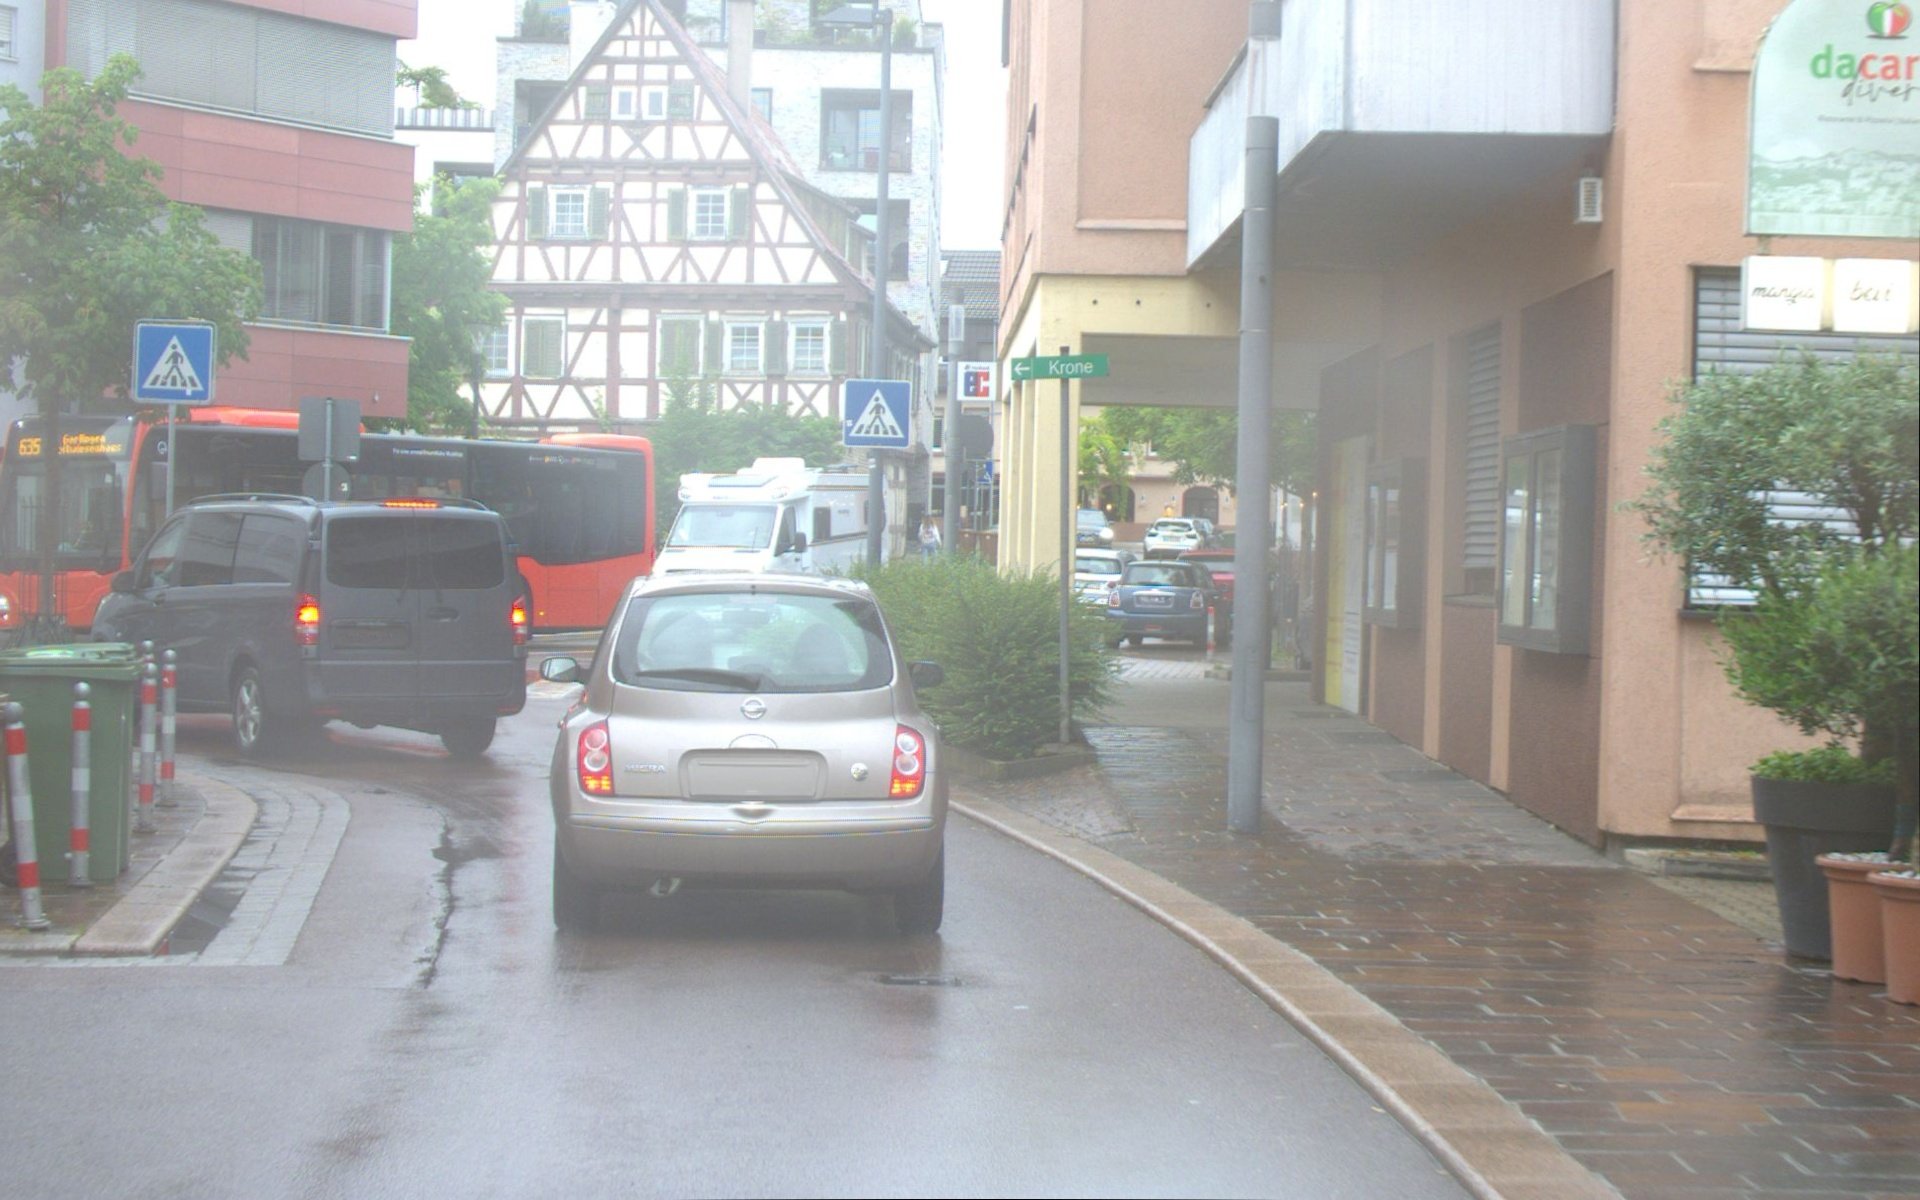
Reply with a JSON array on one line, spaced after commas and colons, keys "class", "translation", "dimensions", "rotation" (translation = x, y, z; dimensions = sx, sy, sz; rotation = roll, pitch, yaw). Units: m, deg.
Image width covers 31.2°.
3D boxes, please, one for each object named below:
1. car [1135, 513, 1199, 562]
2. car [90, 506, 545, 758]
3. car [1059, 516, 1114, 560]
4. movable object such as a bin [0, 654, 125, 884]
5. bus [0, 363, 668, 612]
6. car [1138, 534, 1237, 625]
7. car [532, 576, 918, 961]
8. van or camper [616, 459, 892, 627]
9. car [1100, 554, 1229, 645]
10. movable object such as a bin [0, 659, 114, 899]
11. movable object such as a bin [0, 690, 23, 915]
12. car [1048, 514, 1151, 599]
[{"class": "car", "translation": [6.579, -1.989, 109.394], "dimensions": [1.896, 1.503, 3.909], "rotation": [1, 1, 2]}, {"class": "car", "translation": [-5.085, 0.180, 26.652], "dimensions": [1.946, 1.775, 4.727], "rotation": [1, 1, -31]}, {"class": "car", "translation": [4.547, -2.221, 123.926], "dimensions": [1.896, 1.503, 3.909], "rotation": [1, 1, 2]}, {"class": "movable object such as a bin", "translation": [-4.264, 0.781, 16.099], "dimensions": [0.656, 1.033, 0.610], "rotation": [0, 1, -12]}, {"class": "bus", "translation": [-8.501, -1.492, 48.033], "dimensions": [2.818, 3.078, 10.588], "rotation": [3, 2, 33]}, {"class": "car", "translation": [4.009, -0.385, 60.176], "dimensions": [1.624, 1.495, 3.999], "rotation": [-1, 1, 5]}, {"class": "car", "translation": [-1.143, 0.670, 15.449], "dimensions": [1.522, 1.466, 3.342], "rotation": [1, 1, -7]}, {"class": "van or camper", "translation": [-3.312, -0.925, 57.293], "dimensions": [2.439, 2.576, 6.746], "rotation": [2, 1, 16]}, {"class": "car", "translation": [3.304, -0.033, 55.133], "dimensions": [1.537, 1.357, 3.371], "rotation": [2, 1, 12]}, {"class": "movable object such as a bin", "translation": [-4.144, 0.792, 15.394], "dimensions": [0.656, 1.033, 0.610], "rotation": [1, 1, -12]}, {"class": "movable object such as a bin", "translation": [-4.275, 0.840, 14.352], "dimensions": [0.581, 0.924, 0.481], "rotation": [2, 1, -2]}, {"class": "car", "translation": [2.657, -0.840, 66.244], "dimensions": [1.896, 1.568, 4.000], "rotation": [1, 1, 2]}]
